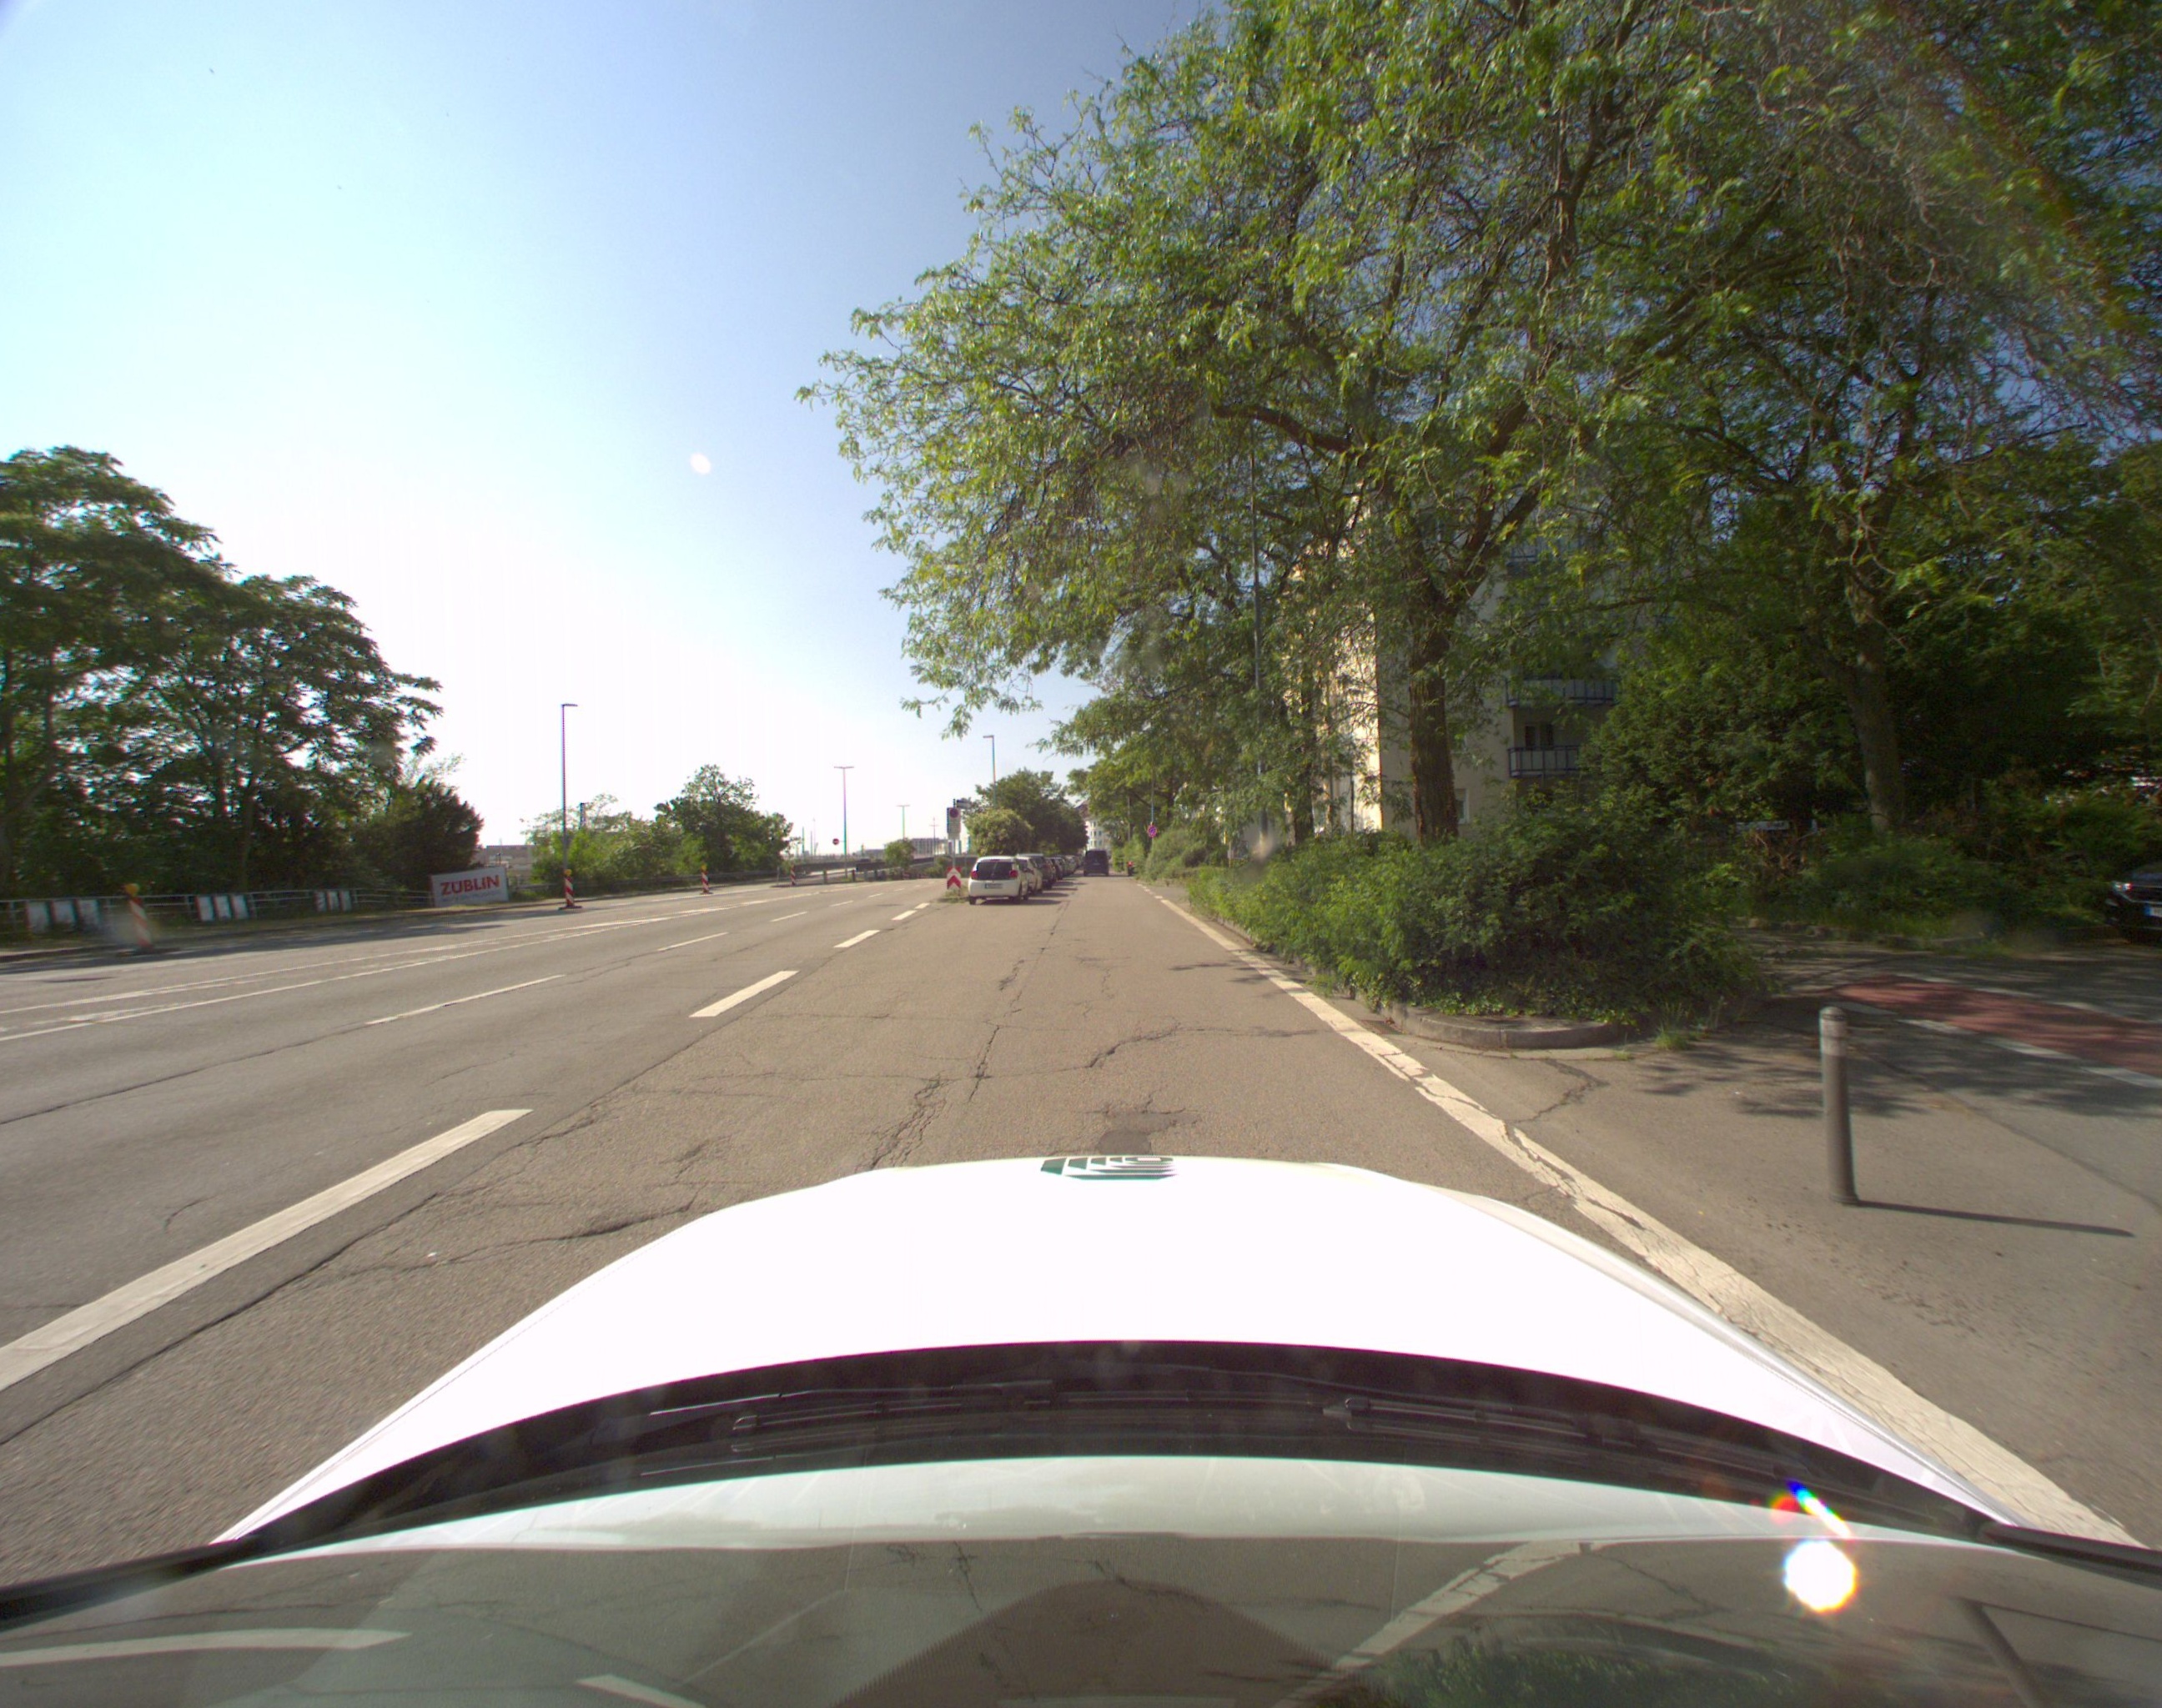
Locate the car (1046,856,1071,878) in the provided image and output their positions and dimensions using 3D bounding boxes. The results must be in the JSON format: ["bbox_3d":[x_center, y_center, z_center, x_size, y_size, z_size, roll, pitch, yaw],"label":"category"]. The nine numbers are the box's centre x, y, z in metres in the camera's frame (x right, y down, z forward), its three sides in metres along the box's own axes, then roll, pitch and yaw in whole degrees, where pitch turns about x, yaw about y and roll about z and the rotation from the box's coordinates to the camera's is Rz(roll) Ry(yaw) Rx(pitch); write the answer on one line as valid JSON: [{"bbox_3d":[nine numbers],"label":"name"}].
[{"bbox_3d":[-1.690,0.962,62.987,1.657,1.583,3.933,-2,0,2],"label":"car"}]

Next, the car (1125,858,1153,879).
[{"bbox_3d":[4.189,1.026,59.299,1.720,1.420,4.000,-3,-1,1],"label":"car"}]

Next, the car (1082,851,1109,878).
[{"bbox_3d":[1.105,0.743,60.568,1.876,1.921,4.009,1,0,2],"label":"car"}]

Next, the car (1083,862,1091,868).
[{"bbox_3d":[1.633,2.901,217.072,1.987,1.657,4.000,-1,-1,0],"label":"car"}]

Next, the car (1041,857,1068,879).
[{"bbox_3d":[-1.875,0.955,58.169,1.657,1.512,3.790,1,0,2],"label":"car"}]

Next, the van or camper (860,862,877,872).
[{"bbox_3d":[-29.991,1.836,115.054,1.464,1.350,4.622,-1,-1,-5],"label":"van or camper"}]

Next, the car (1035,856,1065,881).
[{"bbox_3d":[-1.949,0.910,52.230,1.657,1.473,3.790,1,0,2],"label":"car"}]

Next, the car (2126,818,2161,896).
[{"bbox_3d":[25.404,0.005,16.897,4.154,1.674,1.800,-2,-2,32],"label":"car"}]

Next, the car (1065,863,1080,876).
[{"bbox_3d":[-0.999,1.880,100.095,1.657,1.510,4.009,1,0,2],"label":"car"}]

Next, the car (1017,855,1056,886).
[{"bbox_3d":[-2.243,0.819,41.804,1.657,1.475,3.877,2,0,2],"label":"car"}]

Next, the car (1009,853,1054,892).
[{"bbox_3d":[-2.166,0.783,36.535,1.766,1.579,4.185,-2,0,0],"label":"car"}]

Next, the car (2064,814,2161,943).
[{"bbox_3d":[15.002,0.248,10.075,3.957,1.548,1.835,-1,-1,-9],"label":"car"}]

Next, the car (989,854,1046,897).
[{"bbox_3d":[-2.341,0.764,31.051,1.715,1.505,4.133,1,0,2],"label":"car"}]

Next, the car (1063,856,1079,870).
[{"bbox_3d":[-1.184,1.049,95.313,1.657,1.510,4.009,1,0,2],"label":"car"}]

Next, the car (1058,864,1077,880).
[{"bbox_3d":[-1.254,1.696,78.678,1.657,1.468,4.202,1,0,2],"label":"car"}]

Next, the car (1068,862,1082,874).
[{"bbox_3d":[-0.788,1.871,111.089,1.657,1.510,4.009,1,0,2],"label":"car"}]

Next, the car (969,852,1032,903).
[{"bbox_3d":[-2.551,0.727,26.474,1.613,1.505,3.462,-1,0,2],"label":"car"}]

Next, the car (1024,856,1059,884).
[{"bbox_3d":[-2.248,0.920,47.336,1.657,1.512,4.595,1,0,2],"label":"car"}]
